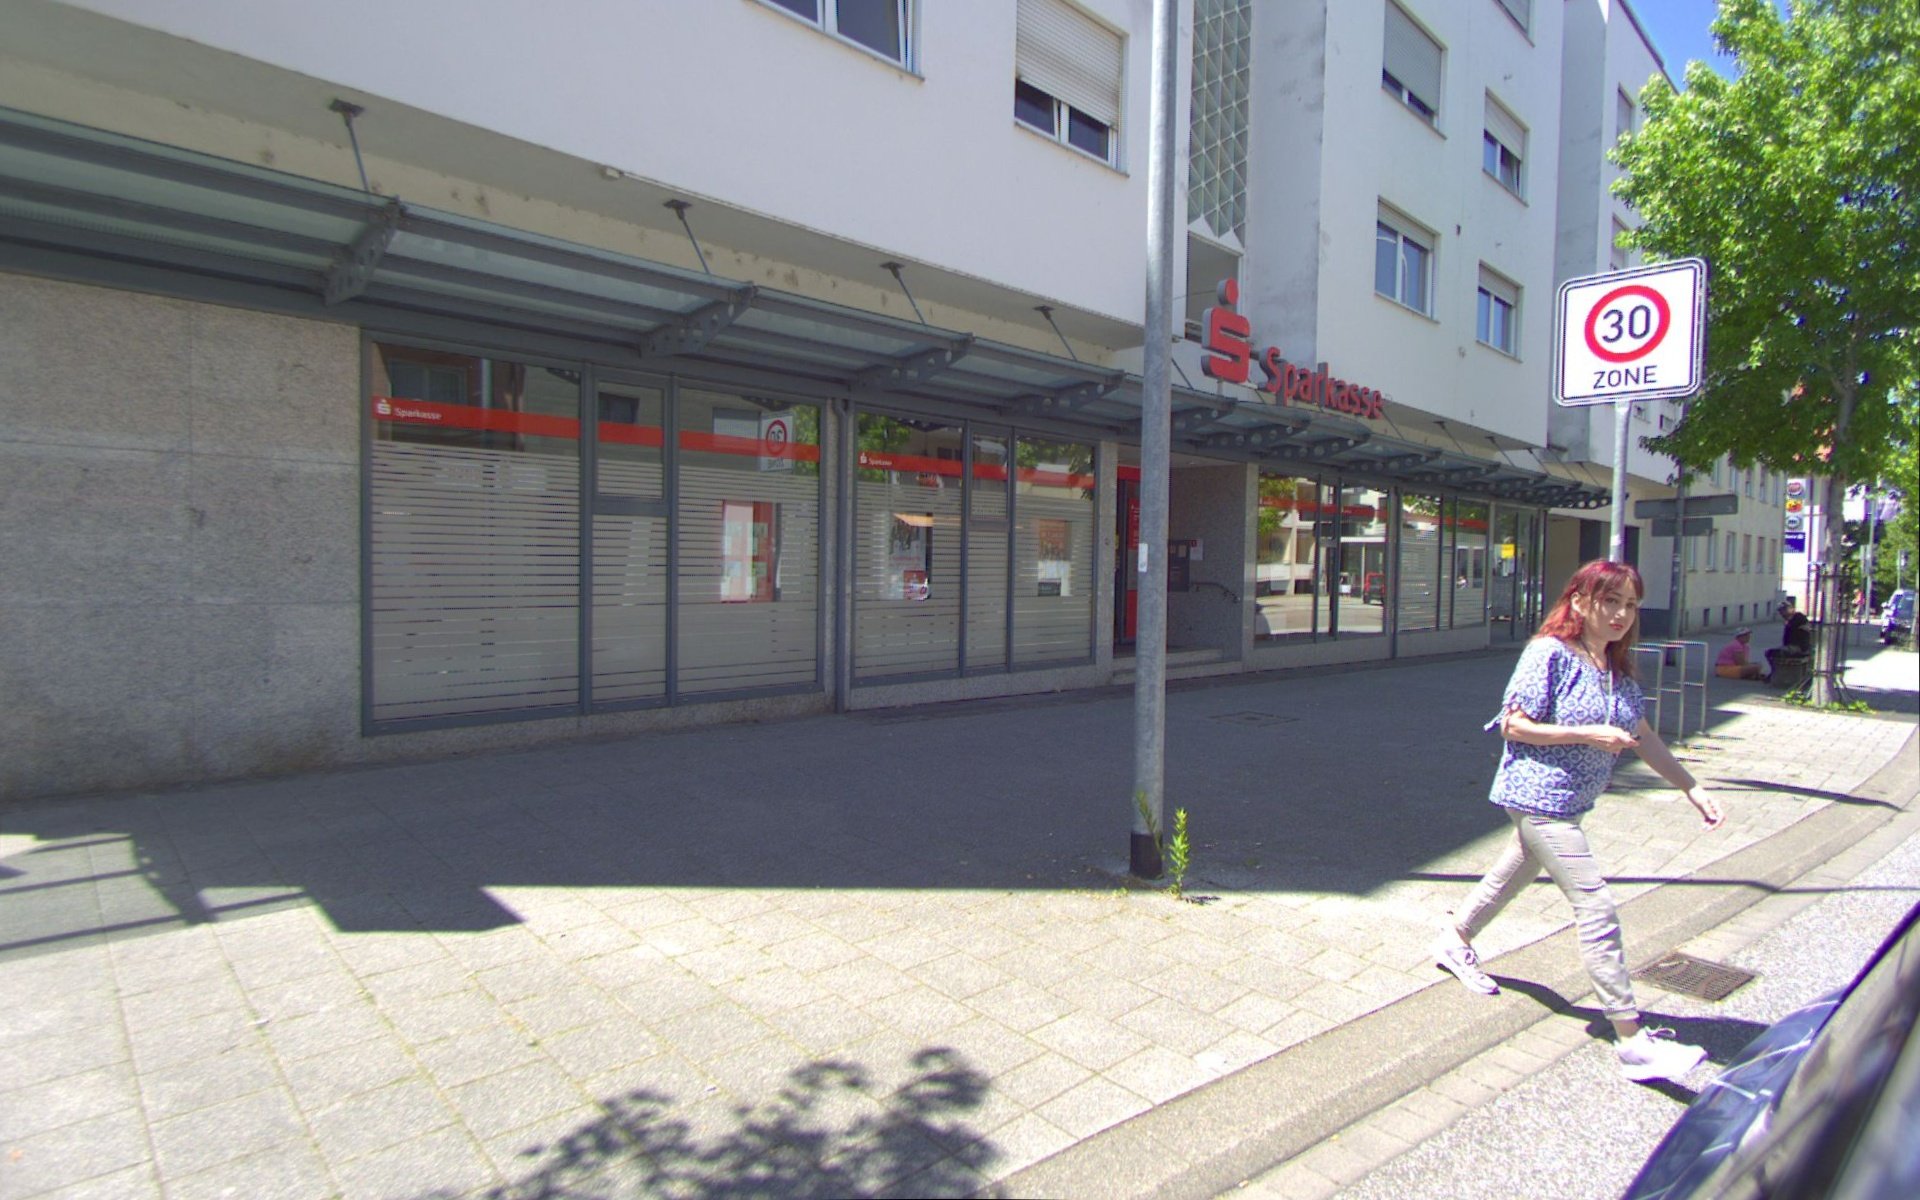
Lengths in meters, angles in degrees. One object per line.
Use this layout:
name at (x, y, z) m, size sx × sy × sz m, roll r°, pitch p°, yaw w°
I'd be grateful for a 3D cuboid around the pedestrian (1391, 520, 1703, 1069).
pedestrian at (1.983, 0.561, 3.450) m, size 0.549 × 1.629 × 0.734 m, roll 0°, pitch 2°, yaw -41°

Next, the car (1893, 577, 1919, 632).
car at (32.647, 0.146, 34.072) m, size 1.689 × 1.743 × 4.069 m, roll 3°, pitch 2°, yaw 44°

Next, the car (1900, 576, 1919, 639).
car at (28.956, 0.248, 29.841) m, size 1.689 × 1.742 × 3.938 m, roll 6°, pitch 5°, yaw 43°

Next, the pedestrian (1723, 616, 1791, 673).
pedestrian at (13.098, 0.725, 16.639) m, size 0.527 × 0.862 × 0.681 m, roll 0°, pitch 3°, yaw -29°

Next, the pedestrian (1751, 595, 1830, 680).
pedestrian at (12.896, 0.566, 15.729) m, size 0.527 × 1.255 × 0.764 m, roll 0°, pitch 2°, yaw -29°
